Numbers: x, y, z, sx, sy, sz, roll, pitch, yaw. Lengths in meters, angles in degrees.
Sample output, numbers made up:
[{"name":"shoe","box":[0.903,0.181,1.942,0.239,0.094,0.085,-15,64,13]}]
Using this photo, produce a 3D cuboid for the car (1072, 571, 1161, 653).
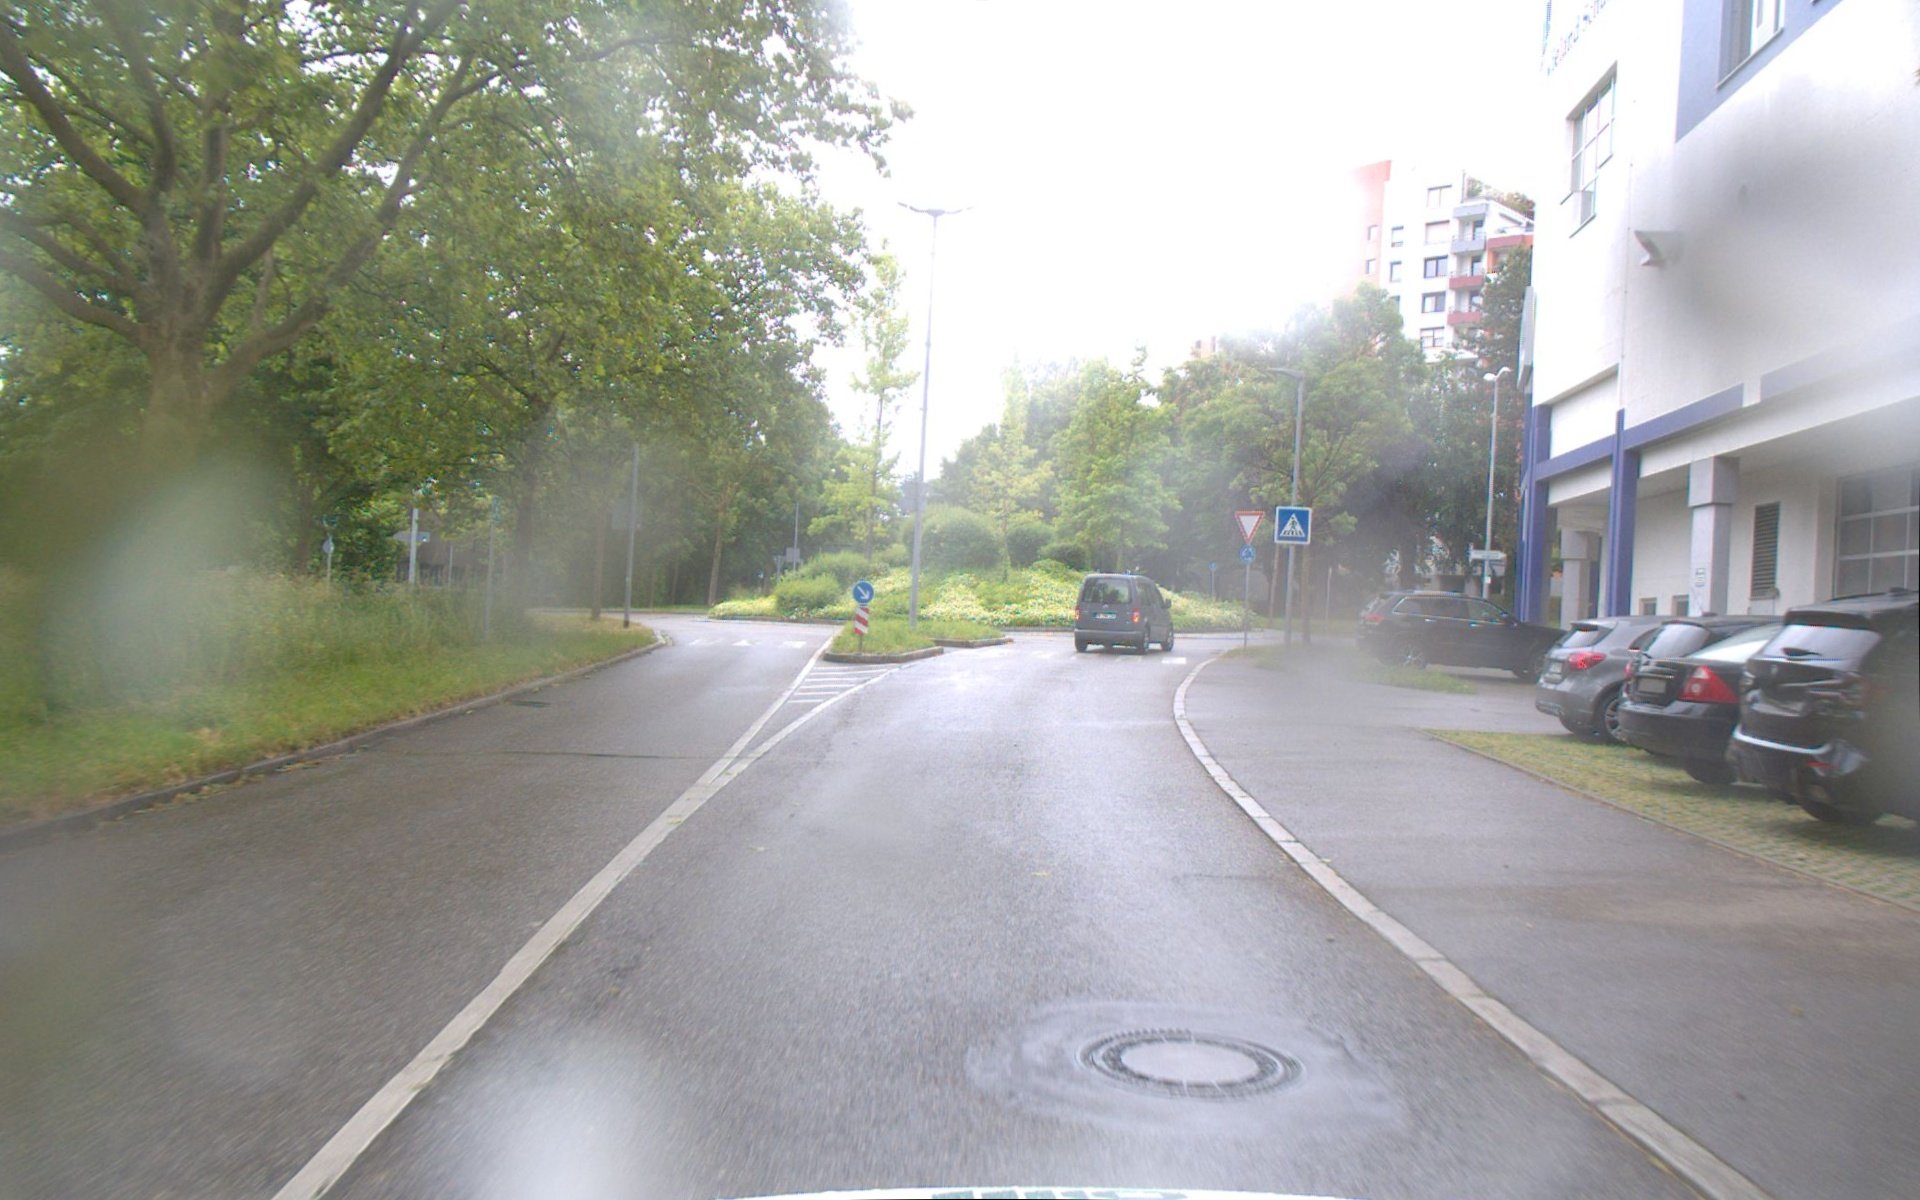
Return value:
[{"name":"car","box":[3.851,0.240,40.212,1.877,1.832,3.794,0,2,10]}]

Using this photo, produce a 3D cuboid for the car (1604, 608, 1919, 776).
[{"name":"car","box":[8.533,0.899,16.474,3.541,1.478,1.721,3,-1,2]}]

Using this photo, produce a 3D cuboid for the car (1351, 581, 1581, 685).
[{"name":"car","box":[10.691,0.669,35.198,4.286,1.789,1.830,4,2,4]}]

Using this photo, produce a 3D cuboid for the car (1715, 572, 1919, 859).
[{"name":"car","box":[7.590,0.772,10.882,4.379,1.709,1.767,3,1,-1]}]

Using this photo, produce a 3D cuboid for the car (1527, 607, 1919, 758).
[{"name":"car","box":[8.721,0.908,18.978,3.855,1.478,1.722,3,0,6]}]

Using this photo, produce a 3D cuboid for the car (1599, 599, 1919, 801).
[{"name":"car","box":[7.714,0.847,13.866,4.023,1.504,1.721,3,-1,-1]}]
